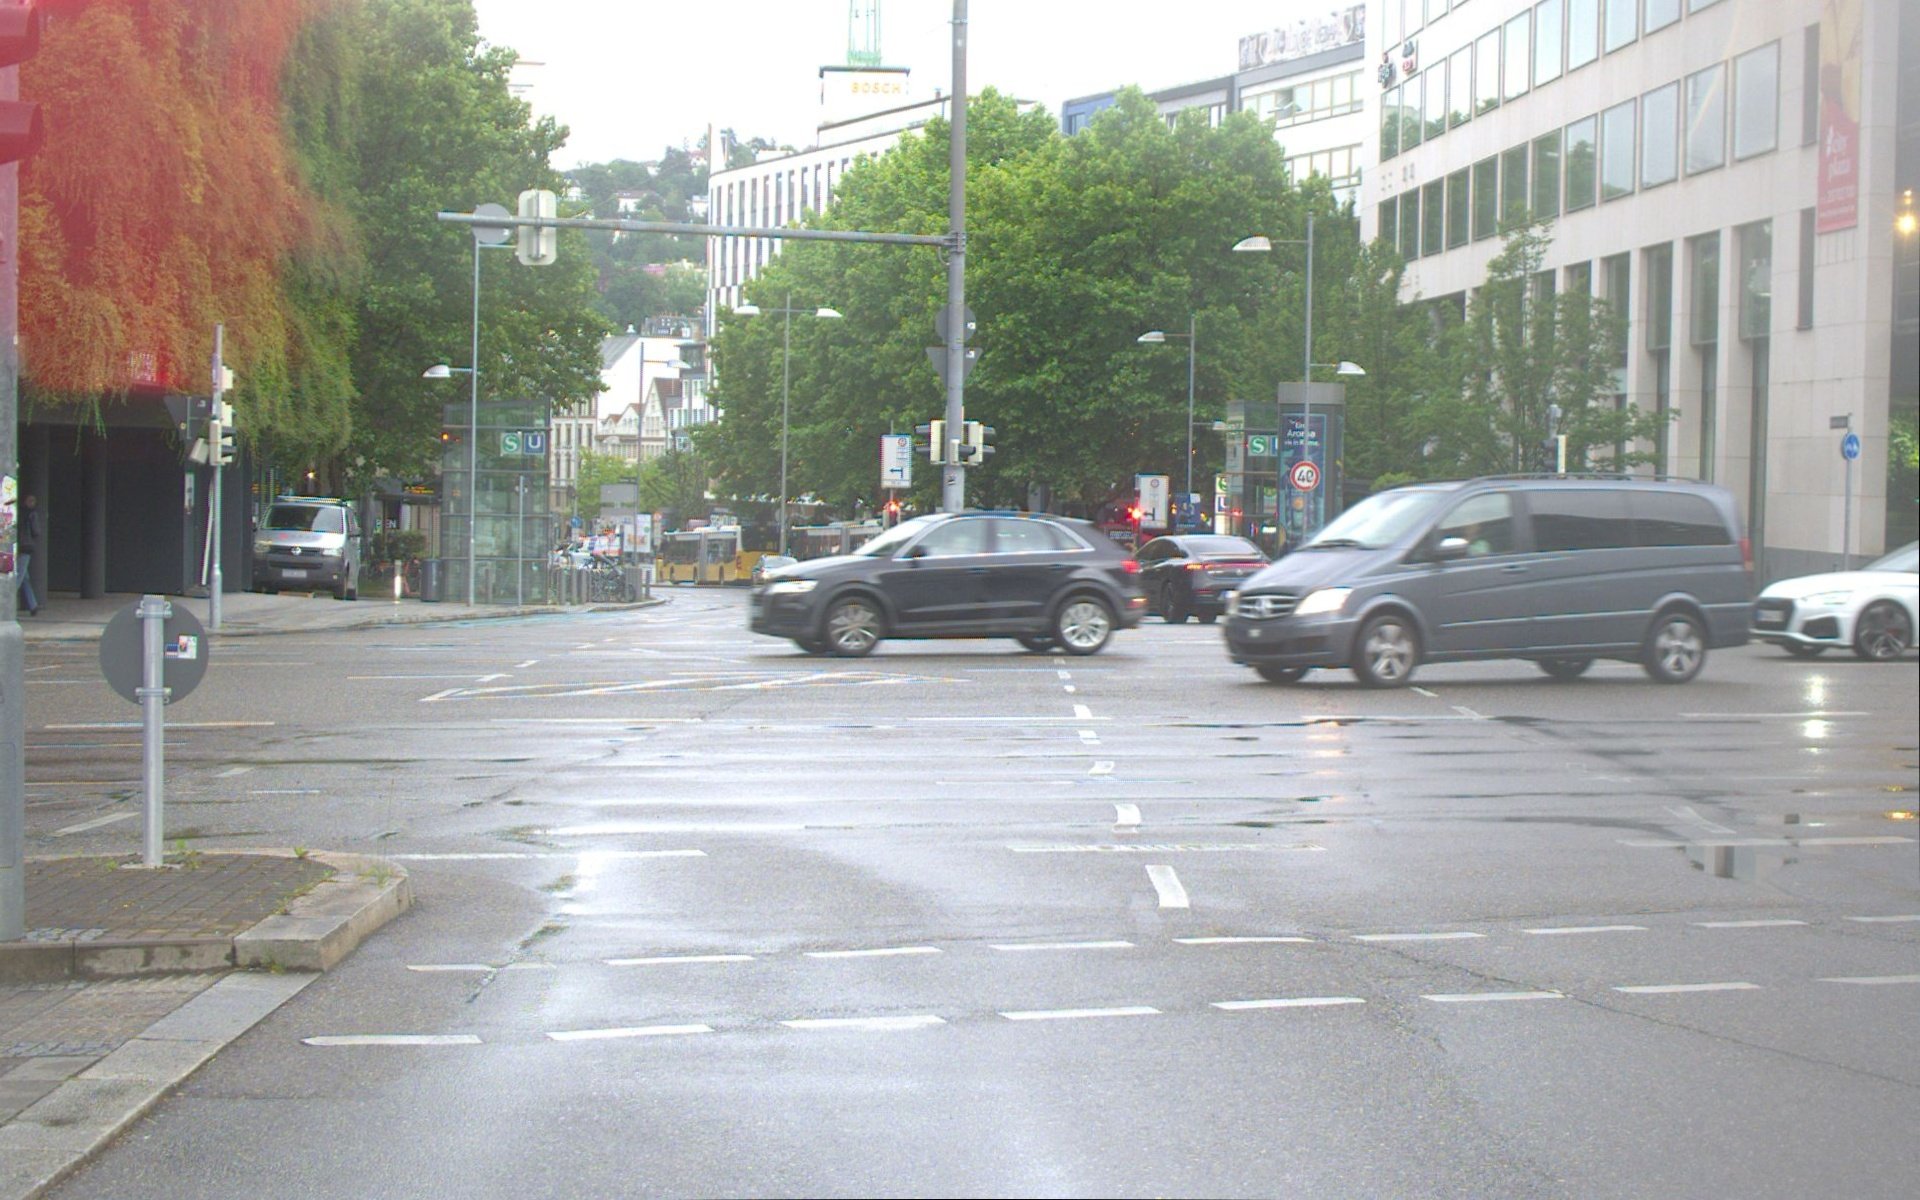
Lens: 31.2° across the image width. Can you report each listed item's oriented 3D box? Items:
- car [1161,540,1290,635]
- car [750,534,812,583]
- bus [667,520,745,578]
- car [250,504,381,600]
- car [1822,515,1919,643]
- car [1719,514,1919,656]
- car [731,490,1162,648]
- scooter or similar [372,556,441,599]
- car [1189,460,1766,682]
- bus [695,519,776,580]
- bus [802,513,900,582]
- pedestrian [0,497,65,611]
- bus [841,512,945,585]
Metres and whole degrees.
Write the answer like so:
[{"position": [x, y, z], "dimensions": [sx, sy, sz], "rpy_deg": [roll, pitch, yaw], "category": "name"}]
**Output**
[{"position": [4.390, -0.218, 57.298], "dimensions": [1.781, 1.503, 4.000], "rpy_deg": [1, 1, -1], "category": "car"}, {"position": [-6.630, -1.529, 126.792], "dimensions": [2.164, 1.759, 5.113], "rpy_deg": [0, 1, -4], "category": "car"}, {"position": [-13.371, -2.716, 180.327], "dimensions": [2.627, 2.985, 7.451], "rpy_deg": [0, 1, -16], "category": "bus"}, {"position": [-12.771, -0.951, 68.326], "dimensions": [1.870, 1.833, 4.000], "rpy_deg": [1, 1, -1], "category": "car"}, {"position": [13.149, -0.239, 42.182], "dimensions": [4.682, 1.507, 1.811], "rpy_deg": [1, 1, -16], "category": "car"}, {"position": [10.996, -0.154, 38.187], "dimensions": [4.682, 1.507, 1.811], "rpy_deg": [1, 1, -16], "category": "car"}, {"position": [-0.178, -0.334, 37.896], "dimensions": [4.402, 1.632, 2.001], "rpy_deg": [1, 1, -13], "category": "car"}, {"position": [-13.279, -0.540, 82.544], "dimensions": [0.623, 1.001, 1.657], "rpy_deg": [1, 1, 38], "category": "scooter or similar"}, {"position": [4.779, -0.246, 31.692], "dimensions": [4.947, 1.921, 2.000], "rpy_deg": [1, 1, -25], "category": "car"}, {"position": [-11.355, -2.557, 173.231], "dimensions": [2.627, 2.985, 7.330], "rpy_deg": [0, 1, -16], "category": "bus"}, {"position": [-4.912, -2.365, 153.084], "dimensions": [2.627, 2.985, 7.451], "rpy_deg": [0, 1, -16], "category": "bus"}, {"position": [-13.646, -0.674, 50.223], "dimensions": [0.933, 1.638, 0.774], "rpy_deg": [1, 0, -1], "category": "pedestrian"}, {"position": [-2.898, -2.203, 145.938], "dimensions": [2.627, 2.985, 7.451], "rpy_deg": [0, 1, -16], "category": "bus"}]
